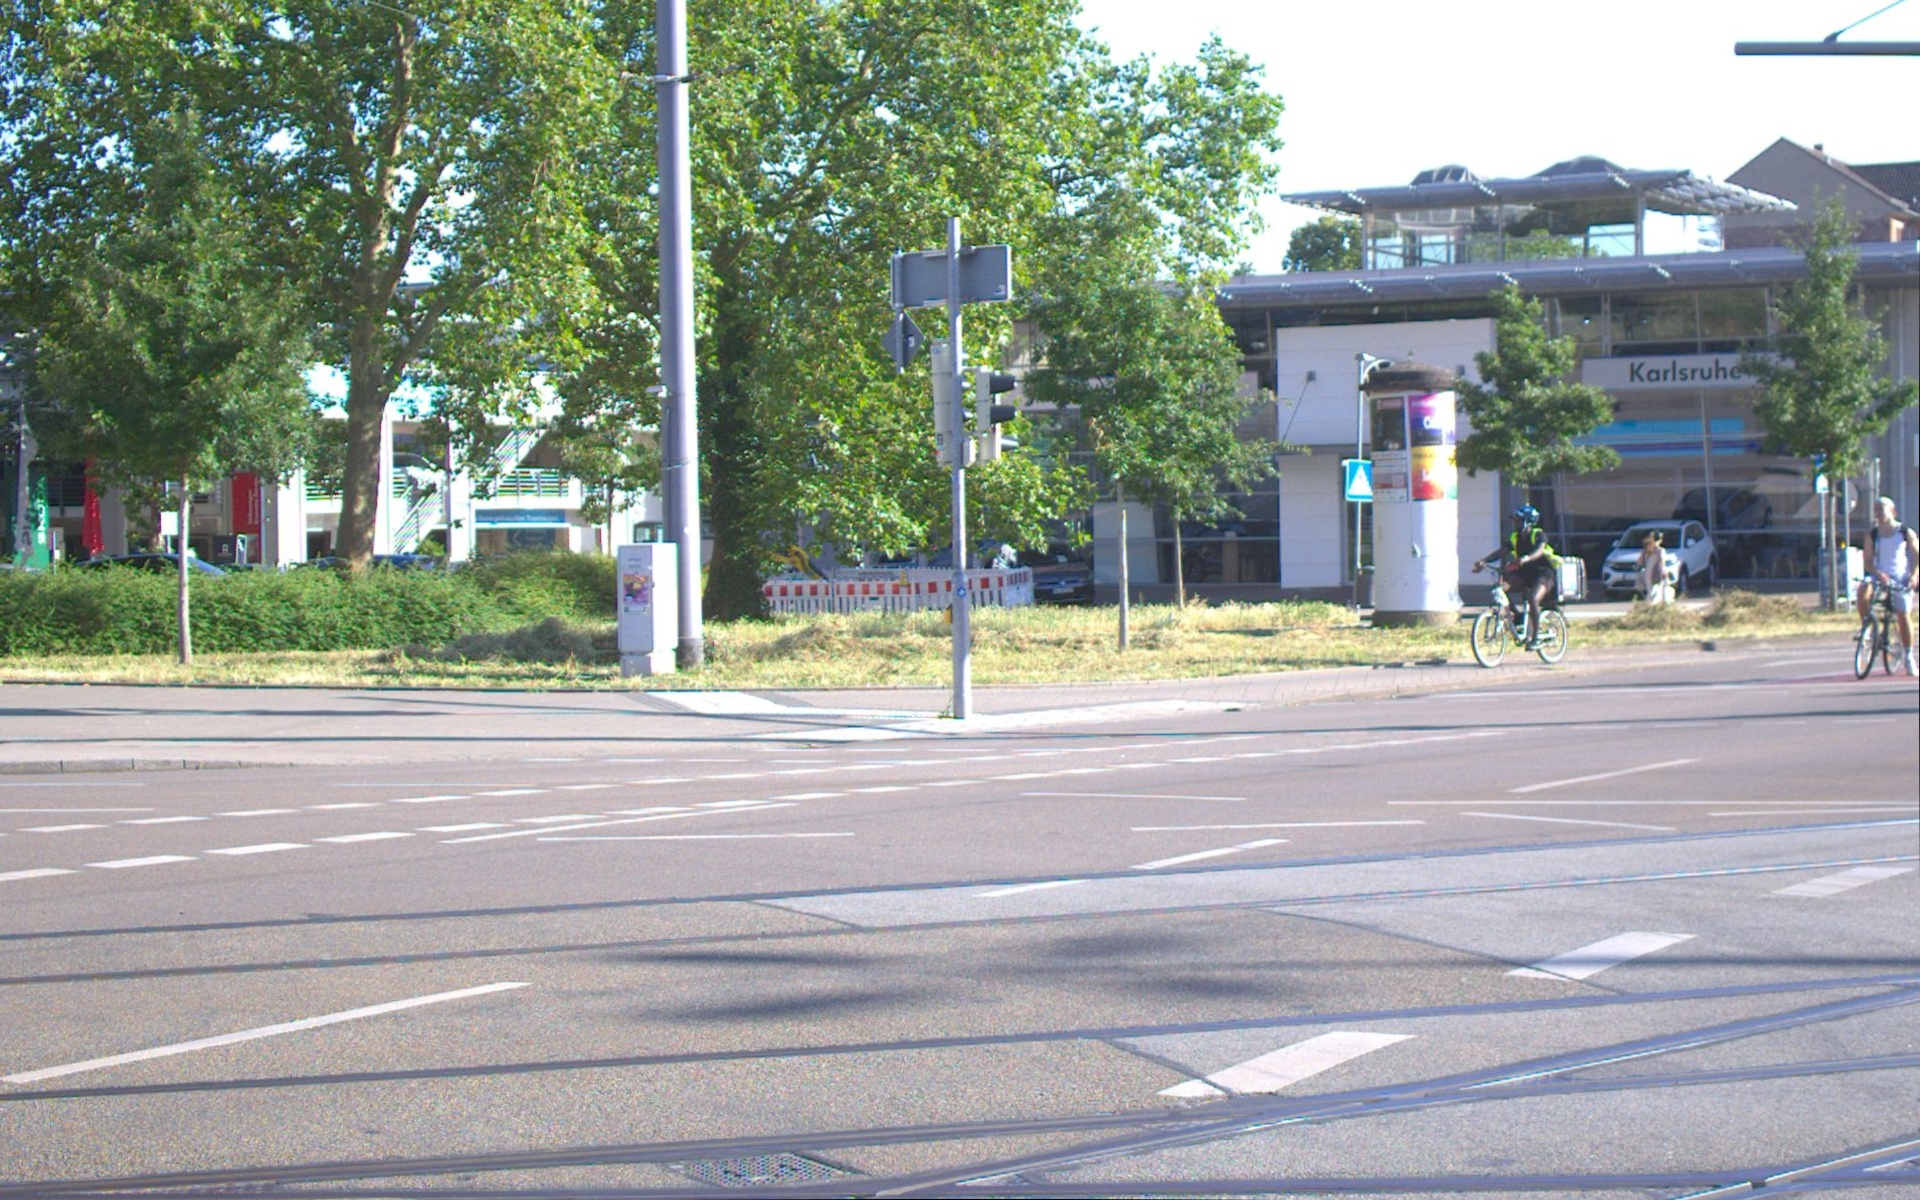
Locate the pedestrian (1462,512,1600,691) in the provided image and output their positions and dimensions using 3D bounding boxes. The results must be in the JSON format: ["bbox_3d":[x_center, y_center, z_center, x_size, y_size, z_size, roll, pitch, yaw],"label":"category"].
[{"bbox_3d":[6.616,0.003,39.813,1.033,2.006,1.267,3,3,39],"label":"pedestrian"}]

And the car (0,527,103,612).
[{"bbox_3d":[-21.459,-0.716,76.990,3.988,1.773,1.856,2,2,8],"label":"car"}]

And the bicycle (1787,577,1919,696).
[{"bbox_3d":[9.395,0.359,35.583,1.032,1.119,2.527,-2,0,27],"label":"bicycle"}]

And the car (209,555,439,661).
[{"bbox_3d":[-12.329,0.136,66.766,3.988,1.862,1.856,2,2,5],"label":"car"}]

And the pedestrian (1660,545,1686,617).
[{"bbox_3d":[13.115,-0.359,63.260,0.411,1.310,0.572,-1,1,16],"label":"pedestrian"}]

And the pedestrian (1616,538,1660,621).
[{"bbox_3d":[12.517,-0.380,63.441,0.722,1.510,0.831,-1,1,16],"label":"pedestrian"}]

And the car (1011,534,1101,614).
[{"bbox_3d":[2.284,-0.650,82.833,1.794,1.504,4.002,1,6,-3],"label":"car"}]

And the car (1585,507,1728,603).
[{"bbox_3d":[15.448,-1.022,76.113,1.997,2.006,3.994,3,2,28],"label":"car"}]

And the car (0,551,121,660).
[{"bbox_3d":[-14.282,0.073,50.086,3.986,1.505,1.801,0,3,-13],"label":"car"}]

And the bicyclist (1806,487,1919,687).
[{"bbox_3d":[9.448,-0.142,35.595,1.032,2.007,1.143,-2,0,27],"label":"bicyclist"}]

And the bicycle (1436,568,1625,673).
[{"bbox_3d":[6.625,0.218,39.821,1.033,1.119,2.525,3,3,38],"label":"bicycle"}]
